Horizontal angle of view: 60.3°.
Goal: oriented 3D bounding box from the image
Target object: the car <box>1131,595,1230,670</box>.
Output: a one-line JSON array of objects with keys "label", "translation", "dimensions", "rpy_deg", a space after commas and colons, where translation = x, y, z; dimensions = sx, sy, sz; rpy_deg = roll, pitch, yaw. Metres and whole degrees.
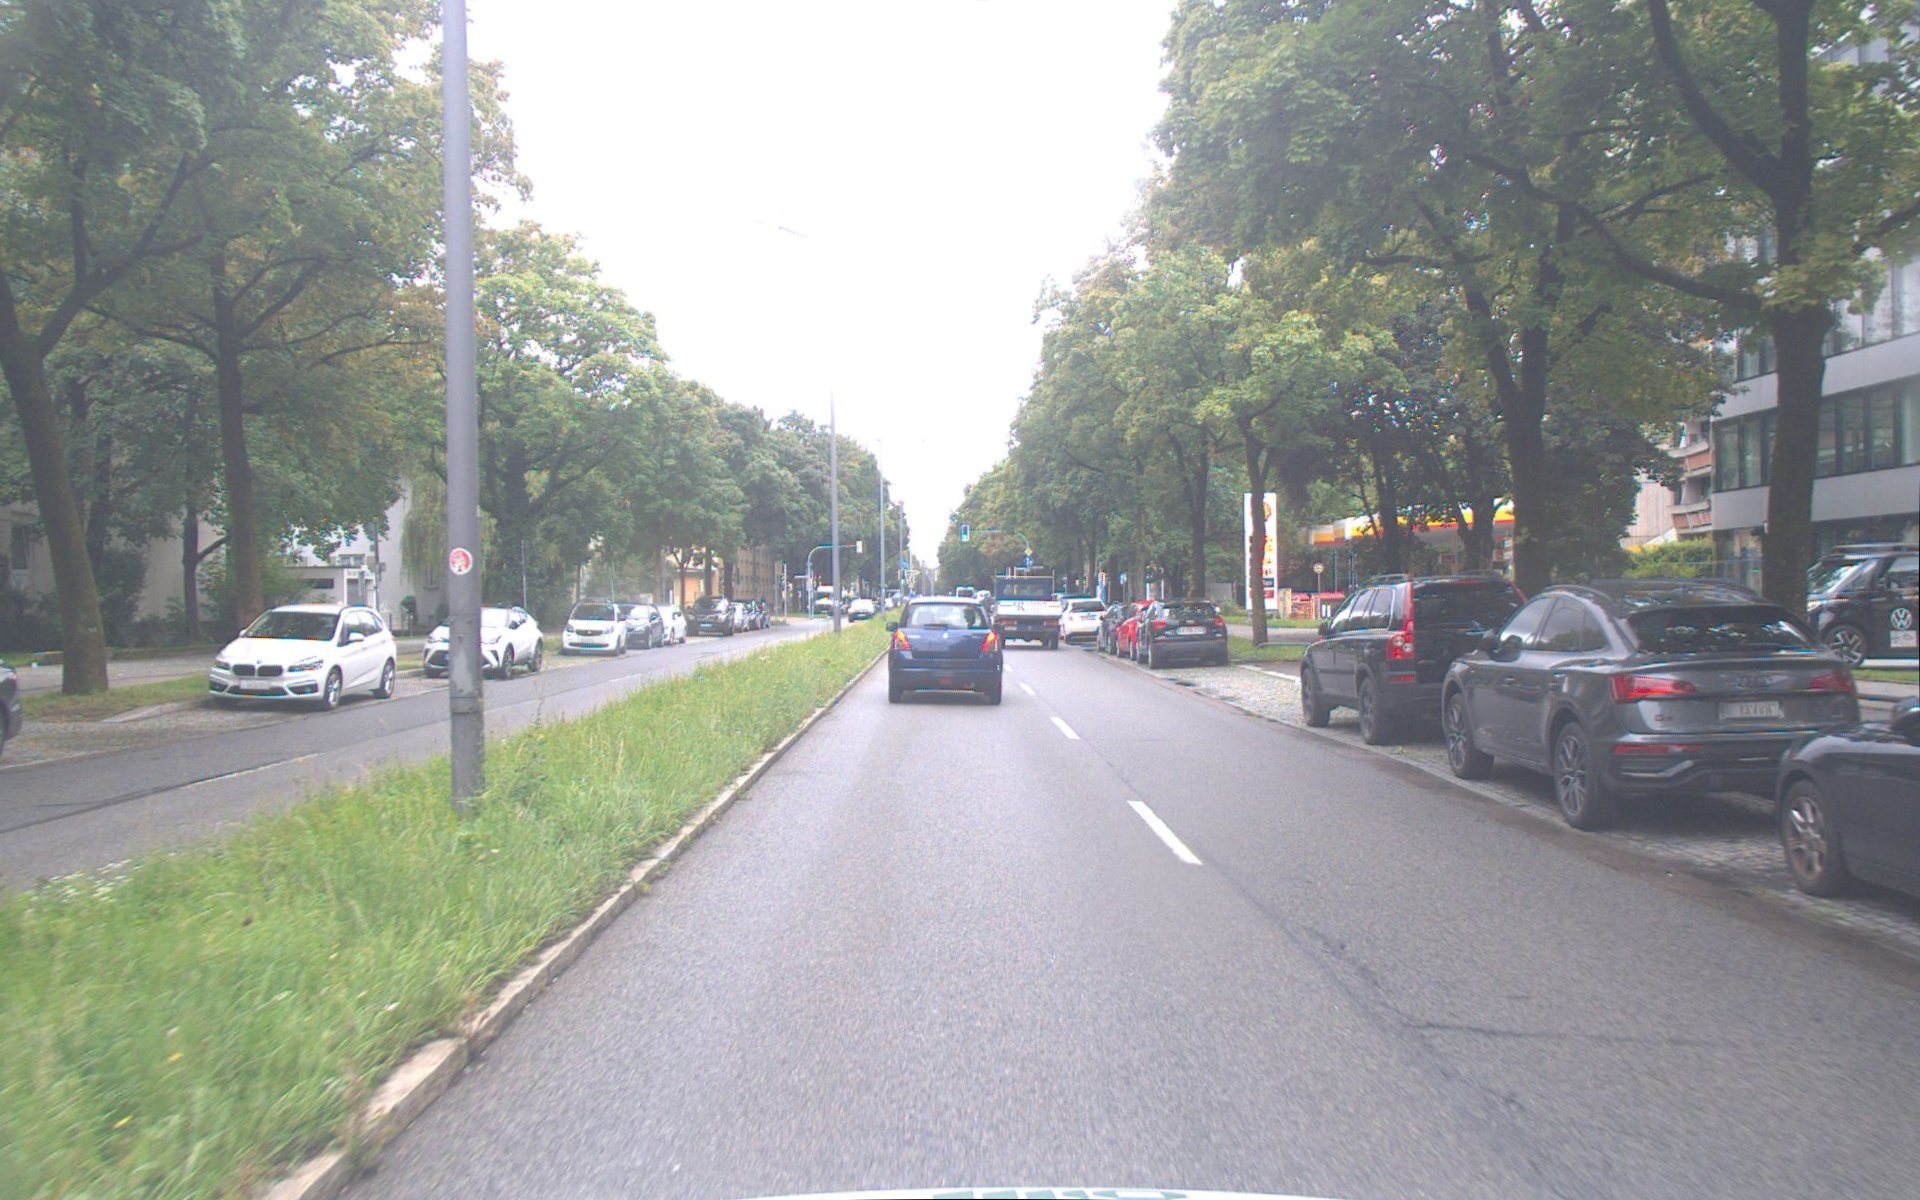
[{"label": "car", "translation": [5.035, 0.705, 38.235], "dimensions": [1.743, 1.537, 4.285], "rpy_deg": [-3, 0, 1]}]

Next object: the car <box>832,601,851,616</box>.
[{"label": "car", "translation": [-12.085, 0.833, 168.939], "dimensions": [1.603, 1.467, 3.734], "rpy_deg": [-1, 0, -1]}]

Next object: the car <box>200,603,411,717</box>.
[{"label": "car", "translation": [-10.478, 0.901, 26.858], "dimensions": [1.722, 1.622, 4.488], "rpy_deg": [2, 0, -2]}]

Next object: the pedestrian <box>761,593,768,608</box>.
[{"label": "pedestrian", "translation": [-18.948, 0.035, 160.230], "dimensions": [0.616, 1.465, 0.806], "rpy_deg": [1, -1, -2]}]

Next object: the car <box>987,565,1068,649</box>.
[{"label": "car", "translation": [2.064, 0.212, 51.920], "dimensions": [2.369, 2.487, 5.087], "rpy_deg": [1, 0, 1]}]

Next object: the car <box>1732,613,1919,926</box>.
[{"label": "car", "translation": [5.368, 0.813, 7.563], "dimensions": [1.666, 1.432, 4.514], "rpy_deg": [-1, 0, 2]}]

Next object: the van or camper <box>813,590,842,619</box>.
[{"label": "van or camper", "translation": [-11.916, 0.401, 148.736], "dimensions": [2.096, 2.519, 6.258], "rpy_deg": [-1, 0, -1]}]

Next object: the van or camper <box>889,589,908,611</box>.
[{"label": "van or camper", "translation": [-6.729, 0.034, 180.659], "dimensions": [1.982, 2.300, 6.020], "rpy_deg": [-1, 0, -2]}]

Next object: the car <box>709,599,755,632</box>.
[{"label": "car", "translation": [-11.112, 0.748, 80.822], "dimensions": [1.632, 1.470, 4.374], "rpy_deg": [2, 0, -1]}]

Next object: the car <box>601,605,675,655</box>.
[{"label": "car", "translation": [-10.714, 0.974, 55.302], "dimensions": [1.640, 1.501, 4.214], "rpy_deg": [2, 0, -1]}]

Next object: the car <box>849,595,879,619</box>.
[{"label": "car", "translation": [-6.196, 0.459, 107.413], "dimensions": [1.703, 1.465, 4.214], "rpy_deg": [-1, 0, -1]}]

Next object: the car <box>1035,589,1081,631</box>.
[{"label": "car", "translation": [4.537, 0.445, 77.031], "dimensions": [1.725, 1.862, 4.527], "rpy_deg": [-3, 0, -1]}]

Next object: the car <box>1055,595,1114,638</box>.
[{"label": "car", "translation": [4.579, 0.583, 61.360], "dimensions": [1.725, 1.479, 4.632], "rpy_deg": [-3, 0, -1]}]

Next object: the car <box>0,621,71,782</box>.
[{"label": "car", "translation": [-10.256, 0.997, 14.967], "dimensions": [1.724, 1.540, 4.947], "rpy_deg": [2, 0, 0]}]

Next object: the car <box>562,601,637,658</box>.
[{"label": "car", "translation": [-10.841, 0.864, 49.874], "dimensions": [1.657, 1.593, 3.078], "rpy_deg": [2, 0, -3]}]

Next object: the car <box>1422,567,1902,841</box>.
[{"label": "car", "translation": [5.153, 0.656, 12.959], "dimensions": [1.775, 1.705, 4.800], "rpy_deg": [-1, 0, 1]}]

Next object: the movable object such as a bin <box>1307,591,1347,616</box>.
[{"label": "movable object such as a bin", "translation": [22.802, 0.231, 102.817], "dimensions": [2.019, 1.512, 1.837], "rpy_deg": [-1, 0, -1]}]

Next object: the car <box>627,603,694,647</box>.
[{"label": "car", "translation": [-10.894, 0.885, 60.396], "dimensions": [1.640, 1.468, 4.319], "rpy_deg": [2, 0, 0]}]

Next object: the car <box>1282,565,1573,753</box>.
[{"label": "car", "translation": [5.159, 0.584, 18.995], "dimensions": [1.854, 1.831, 4.860], "rpy_deg": [-1, 0, -1]}]

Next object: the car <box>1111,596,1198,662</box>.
[{"label": "car", "translation": [4.965, 0.712, 42.695], "dimensions": [1.641, 1.527, 4.020], "rpy_deg": [-3, 0, -1]}]

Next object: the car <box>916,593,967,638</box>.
[{"label": "car", "translation": [-0.653, 0.535, 59.021], "dimensions": [1.762, 1.525, 3.659], "rpy_deg": [-1, 0, -1]}]

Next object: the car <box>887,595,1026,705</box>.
[{"label": "car", "translation": [-0.130, 0.688, 24.866], "dimensions": [1.859, 1.525, 3.657], "rpy_deg": [0, 0, -4]}]

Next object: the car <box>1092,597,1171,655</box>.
[{"label": "car", "translation": [4.832, 0.705, 47.117], "dimensions": [1.641, 1.479, 4.581], "rpy_deg": [-3, 0, -1]}]

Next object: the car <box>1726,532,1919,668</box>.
[{"label": "car", "translation": [15.893, -0.029, 27.448], "dimensions": [5.359, 2.120, 2.146], "rpy_deg": [-1, 0, -2]}]

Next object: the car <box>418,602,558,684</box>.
[{"label": "car", "translation": [-10.459, 0.905, 36.970], "dimensions": [1.795, 1.637, 4.491], "rpy_deg": [2, 0, 0]}]

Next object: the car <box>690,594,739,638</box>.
[{"label": "car", "translation": [-10.925, 0.672, 73.874], "dimensions": [1.761, 1.794, 5.053], "rpy_deg": [2, 0, -5]}]

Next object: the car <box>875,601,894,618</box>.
[{"label": "car", "translation": [-7.076, 0.886, 154.909], "dimensions": [1.703, 1.467, 4.101], "rpy_deg": [-1, 0, -2]}]
